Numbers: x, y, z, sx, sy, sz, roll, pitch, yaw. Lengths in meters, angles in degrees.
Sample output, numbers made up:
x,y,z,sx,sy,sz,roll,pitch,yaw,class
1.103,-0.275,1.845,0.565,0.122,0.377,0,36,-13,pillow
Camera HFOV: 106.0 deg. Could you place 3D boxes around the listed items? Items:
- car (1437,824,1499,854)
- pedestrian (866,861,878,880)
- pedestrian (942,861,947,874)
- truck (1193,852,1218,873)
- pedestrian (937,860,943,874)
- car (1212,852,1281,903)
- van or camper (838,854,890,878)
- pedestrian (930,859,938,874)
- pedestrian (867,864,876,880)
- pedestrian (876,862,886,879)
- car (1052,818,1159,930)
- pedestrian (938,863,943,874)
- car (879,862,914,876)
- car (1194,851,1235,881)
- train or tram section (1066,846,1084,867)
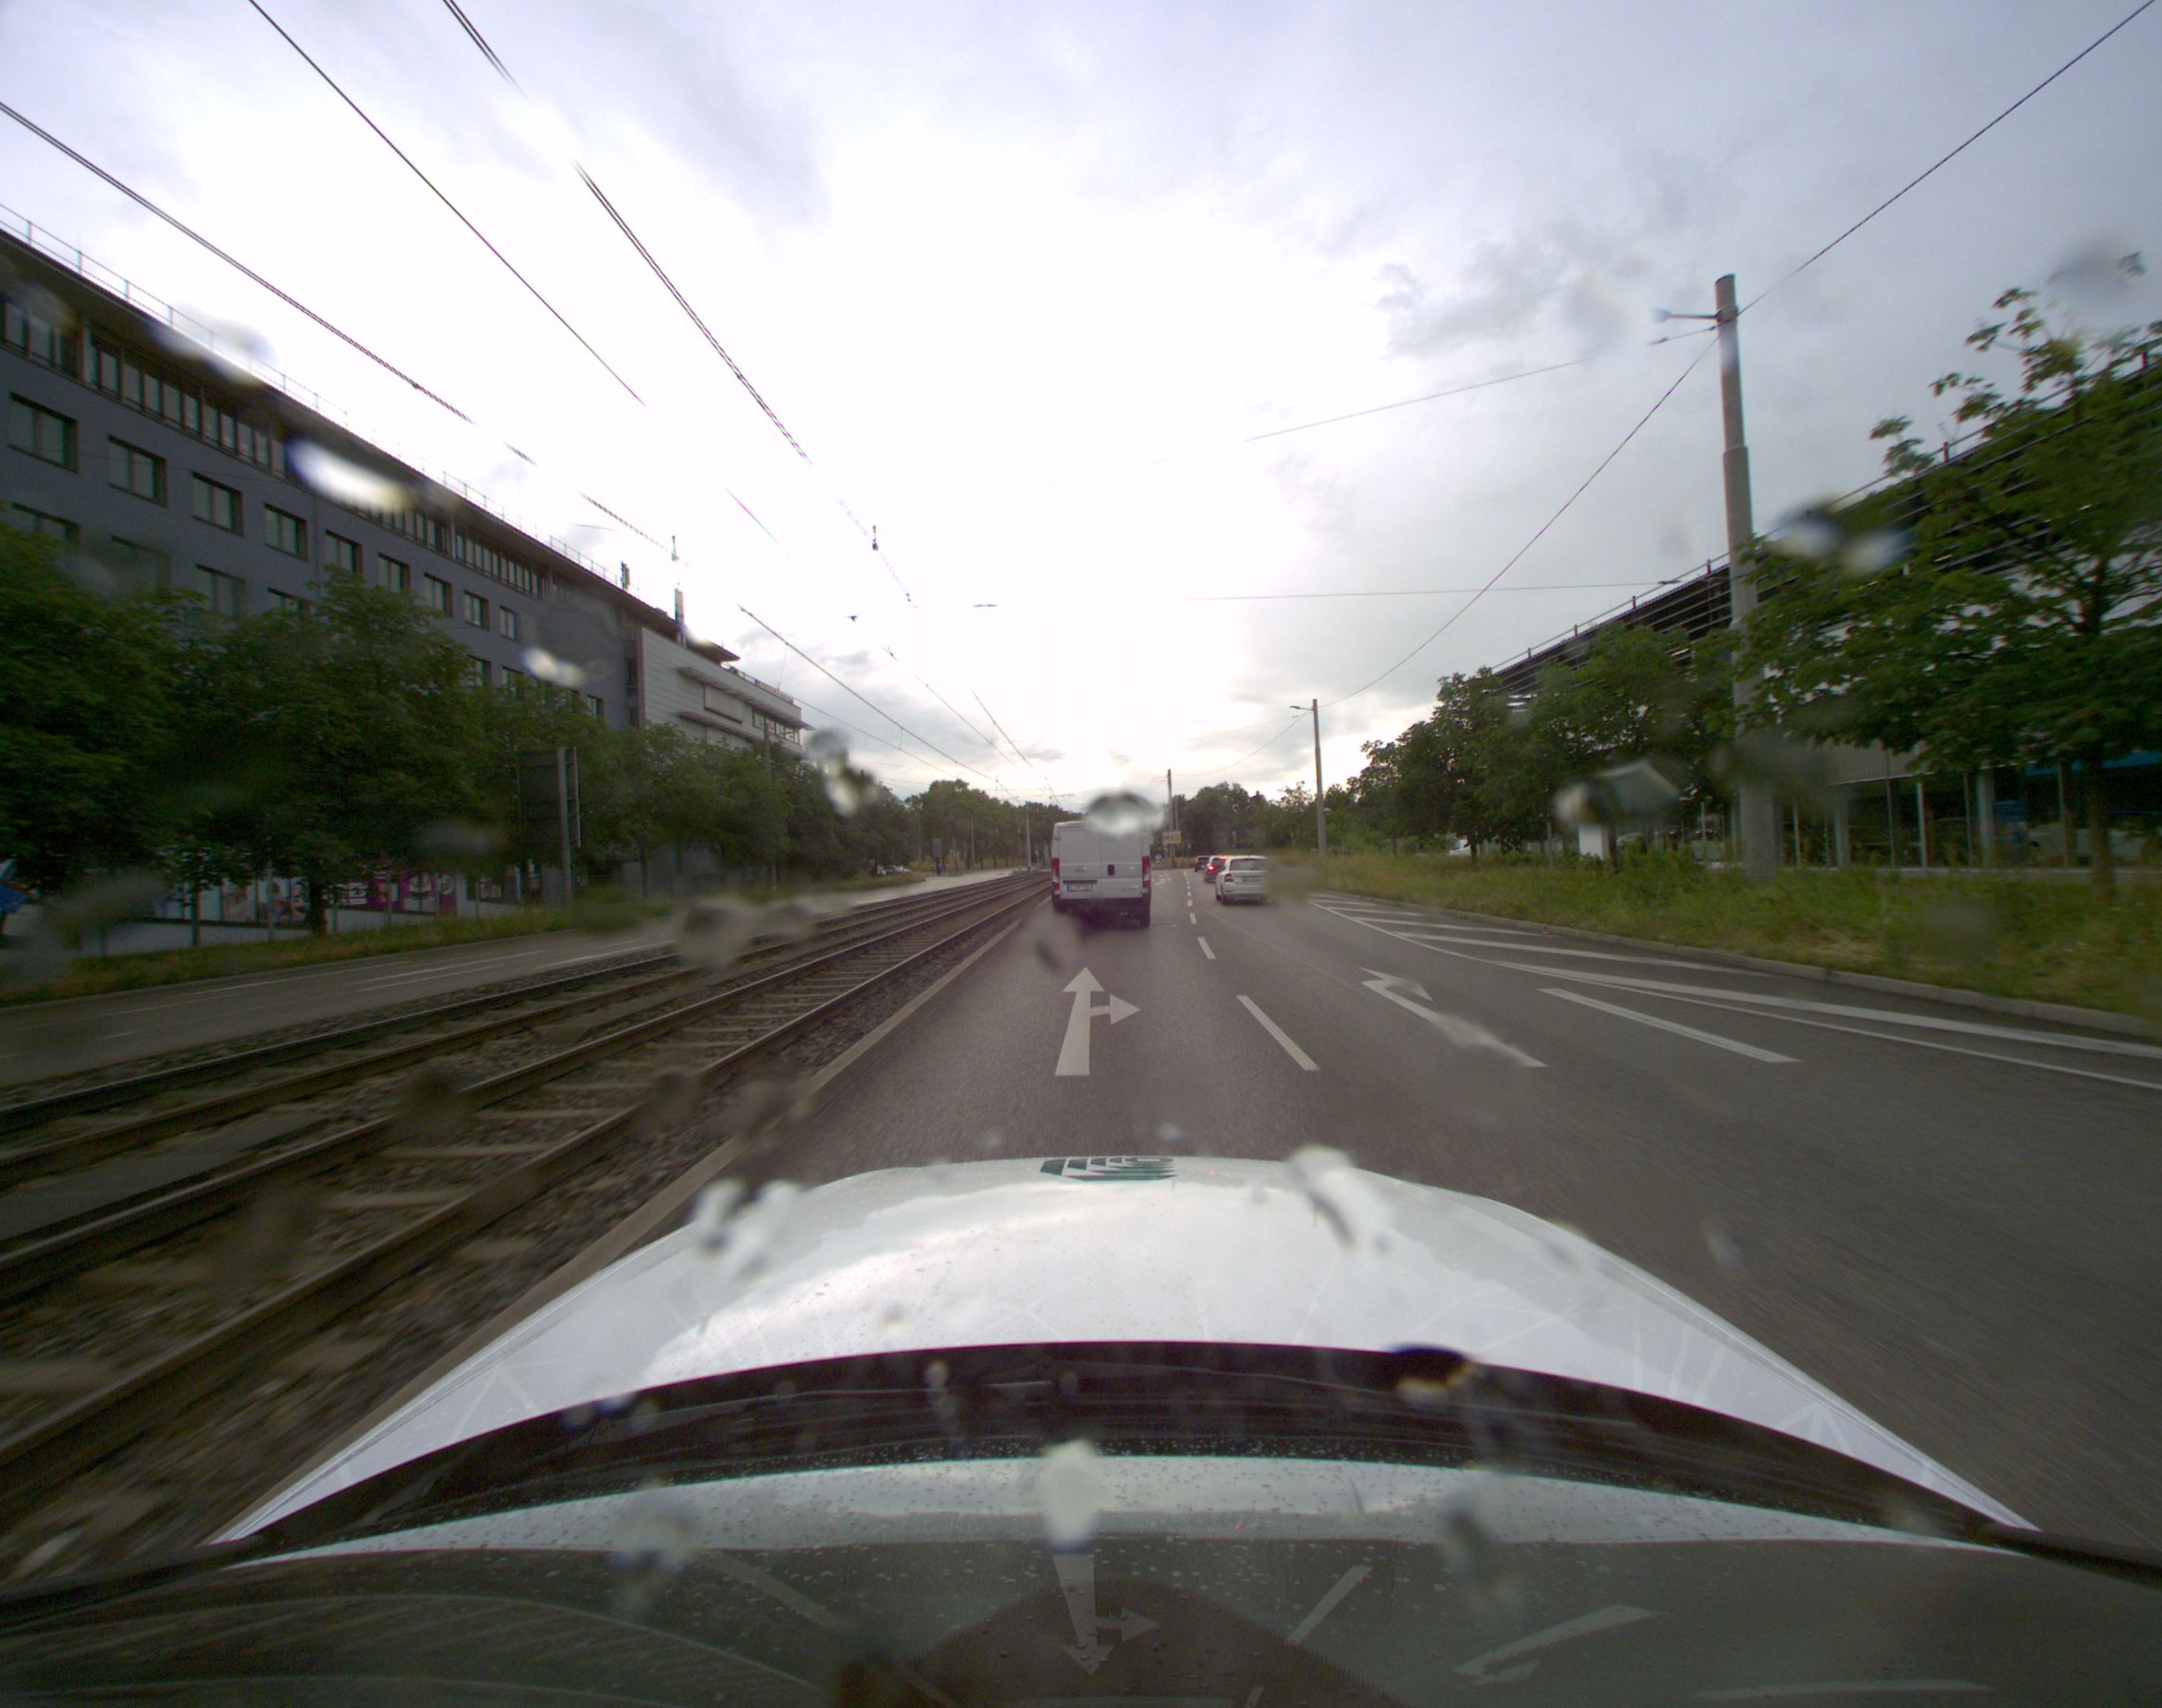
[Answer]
x,y,z,sx,sy,sz,roll,pitch,yaw,class
28.684,-1.076,60.526,2.037,2.013,5.088,-2,0,-1,car
-23.762,1.880,92.636,0.880,2.013,0.949,-3,-1,17,pedestrian
-18.401,1.854,109.859,0.503,1.787,0.833,0,-1,7,pedestrian
11.620,0.745,75.746,1.980,1.790,4.429,-3,0,12,truck
-19.065,1.775,110.105,0.493,1.955,0.723,0,-1,6,pedestrian
5.063,0.671,25.320,1.738,1.457,3.677,0,0,6,car
-28.534,1.562,106.816,7.279,2.967,2.507,-2,0,36,van or camper
-20.138,1.694,111.561,0.885,2.013,0.865,-3,-1,-3,pedestrian
-23.103,1.993,89.687,0.722,1.755,0.878,0,0,4,pedestrian
-22.747,1.875,92.646,0.628,1.867,0.958,-3,0,18,pedestrian
0.510,0.378,18.737,2.083,2.196,5.061,-1,0,0,car
-19.236,1.938,111.691,0.493,1.473,0.722,0,0,4,pedestrian
-24.744,1.959,109.211,4.571,1.732,2.013,-2,0,35,car
7.040,0.621,43.189,1.781,1.449,4.005,-1,0,4,car
-1.114,0.520,158.294,2.915,3.933,7.013,0,0,4,train or tram section
